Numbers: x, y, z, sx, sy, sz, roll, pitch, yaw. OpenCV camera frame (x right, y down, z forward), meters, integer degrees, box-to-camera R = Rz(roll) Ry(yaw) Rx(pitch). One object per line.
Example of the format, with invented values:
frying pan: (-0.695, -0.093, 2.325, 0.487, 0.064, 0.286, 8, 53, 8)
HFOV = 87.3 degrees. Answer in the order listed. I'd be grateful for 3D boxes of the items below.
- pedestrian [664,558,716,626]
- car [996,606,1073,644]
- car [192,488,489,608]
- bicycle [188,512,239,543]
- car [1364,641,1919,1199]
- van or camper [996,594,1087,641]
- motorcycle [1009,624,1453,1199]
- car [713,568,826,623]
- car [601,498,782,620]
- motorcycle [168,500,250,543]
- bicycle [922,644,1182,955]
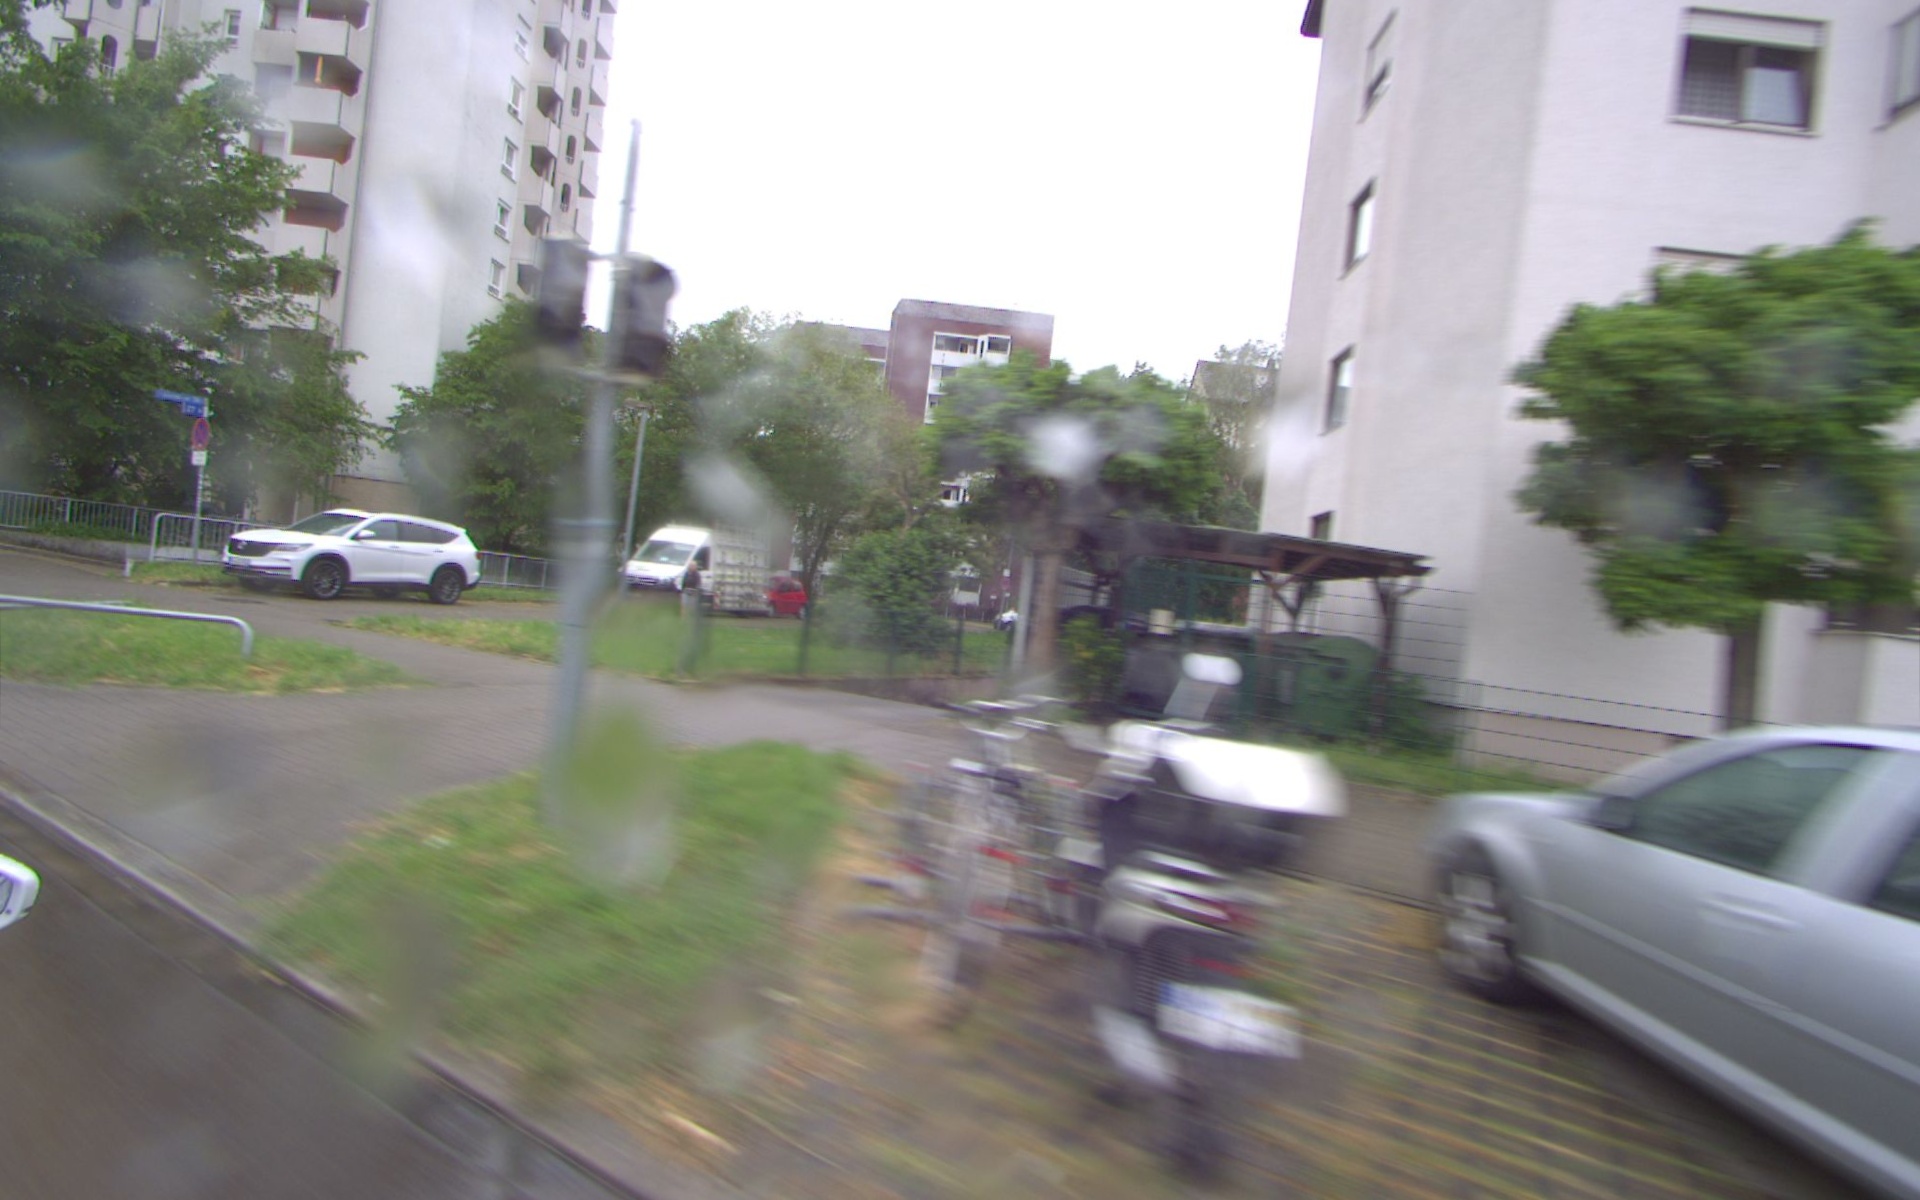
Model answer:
pedestrian: (-6.784, -0.196, 25.295, 0.799, 1.590, 0.840, 7, 1, 13)
car: (4.161, 1.411, 56.092, 3.924, 1.470, 2.003, 8, -2, 12)
car: (-12.047, -0.919, 20.043, 1.962, 1.767, 4.819, 7, 0, 17)
bicycle: (-27.287, -2.656, 36.770, 1.439, 0.937, 0.408, 7, 1, -5)
car: (3.143, 1.077, 3.160, 1.707, 1.441, 4.120, 7, 1, -4)
van or camper: (4.127, 0.893, 51.043, 4.334, 1.793, 1.908, 7, 0, 5)
motorcycle: (0.672, 0.829, 3.217, 0.677, 1.354, 1.777, 6, 1, -4)
car: (-6.744, -0.123, 36.201, 1.872, 1.545, 4.417, 7, 0, 20)
car: (-7.916, -1.084, 30.531, 2.090, 3.000, 6.077, 7, 0, 17)
motorcycle: (-28.236, -2.933, 37.830, 2.262, 1.305, 0.884, 7, 1, -5)
bicycle: (0.360, 0.896, 5.185, 0.619, 1.116, 1.950, 6, 1, -14)
